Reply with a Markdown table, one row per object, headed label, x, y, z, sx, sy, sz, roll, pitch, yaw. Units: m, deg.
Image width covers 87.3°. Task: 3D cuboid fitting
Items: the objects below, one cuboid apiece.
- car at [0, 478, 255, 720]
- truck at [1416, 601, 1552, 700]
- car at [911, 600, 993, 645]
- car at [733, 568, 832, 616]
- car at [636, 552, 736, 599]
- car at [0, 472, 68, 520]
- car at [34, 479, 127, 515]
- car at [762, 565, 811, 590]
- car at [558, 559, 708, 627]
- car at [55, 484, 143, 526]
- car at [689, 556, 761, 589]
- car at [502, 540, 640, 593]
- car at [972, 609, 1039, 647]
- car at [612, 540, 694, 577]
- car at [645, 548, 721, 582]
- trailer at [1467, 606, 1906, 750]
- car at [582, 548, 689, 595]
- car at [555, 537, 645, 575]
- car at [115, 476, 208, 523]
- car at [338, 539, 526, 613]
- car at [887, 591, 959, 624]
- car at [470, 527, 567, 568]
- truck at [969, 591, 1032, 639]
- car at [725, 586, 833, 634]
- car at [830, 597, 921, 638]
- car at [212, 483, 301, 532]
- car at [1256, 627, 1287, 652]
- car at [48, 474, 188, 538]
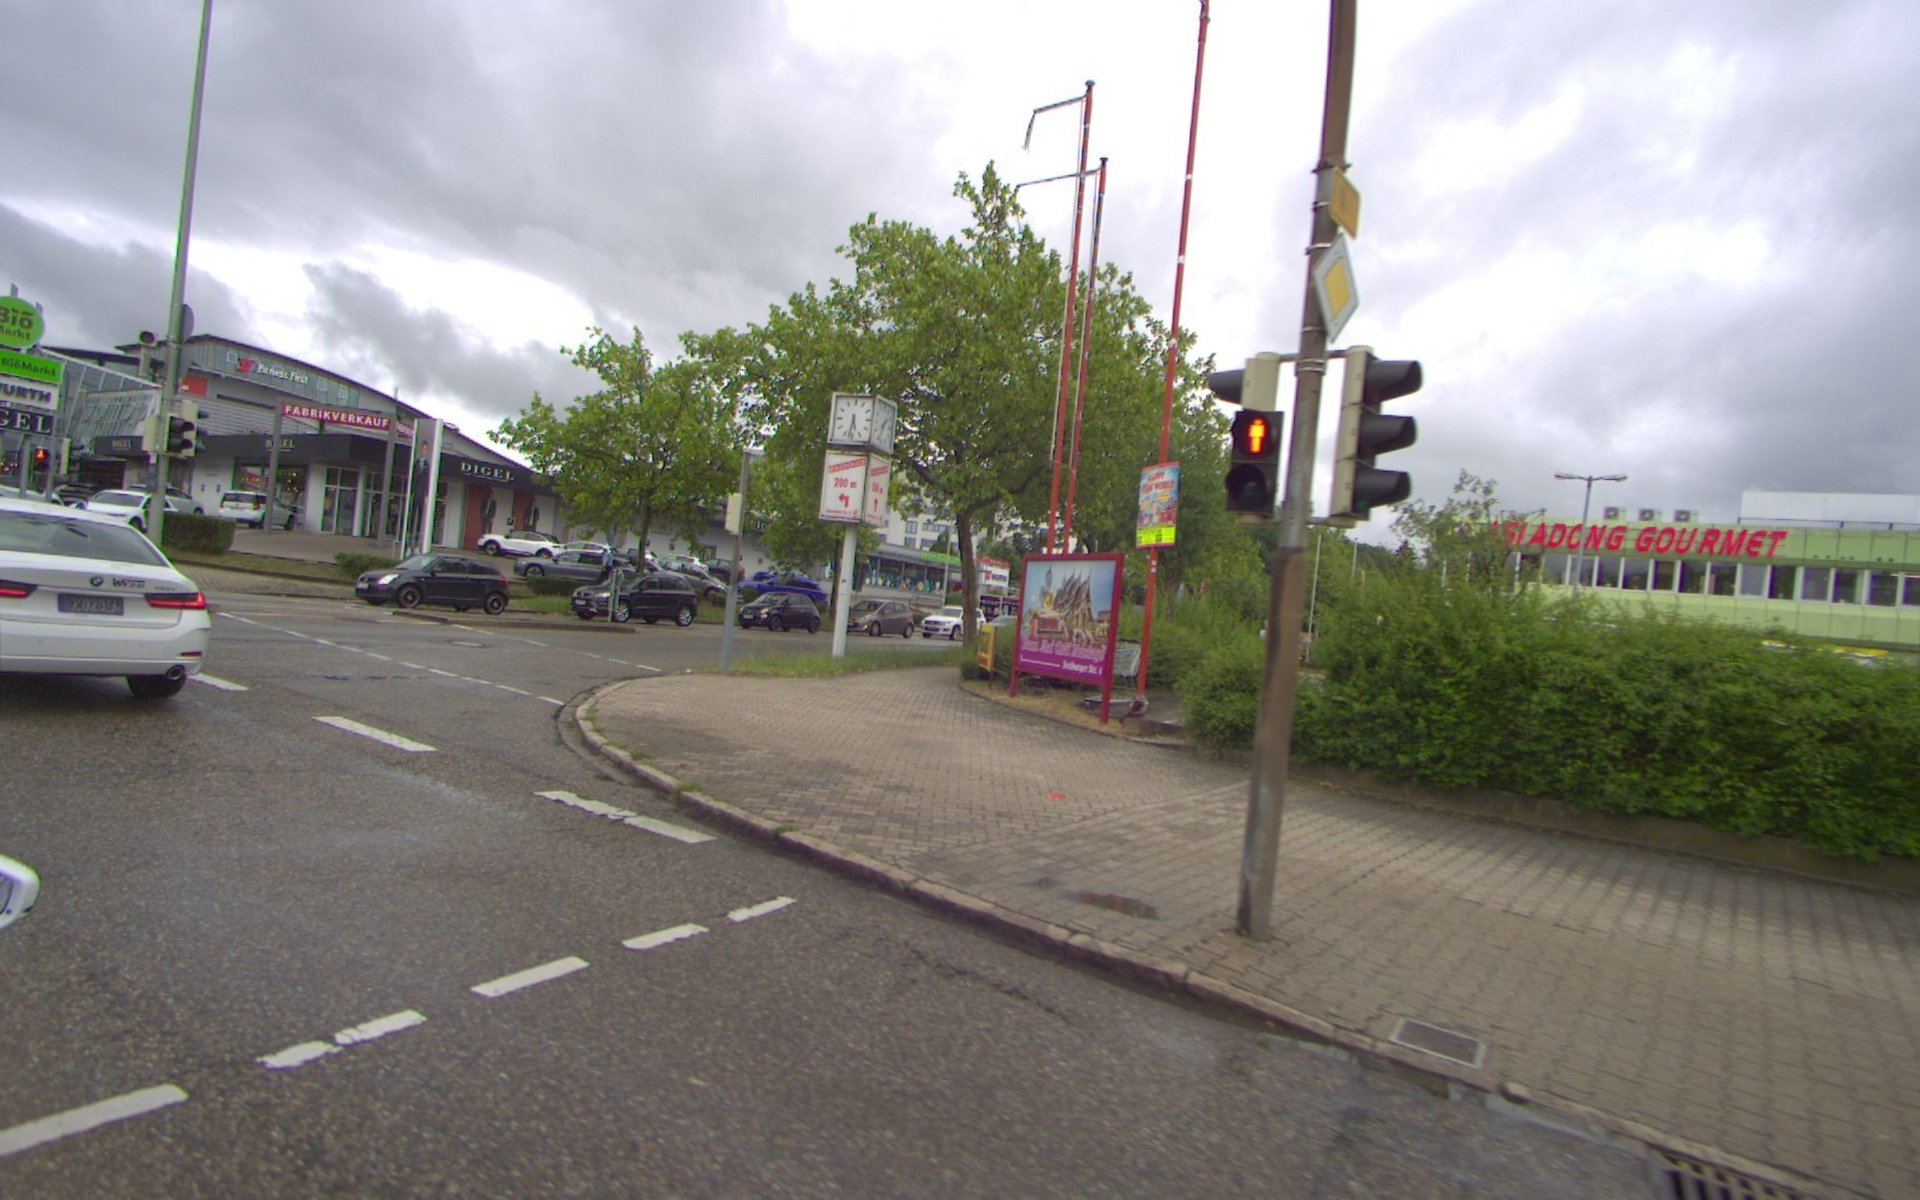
| label | x | y | z | sx | sy | sz | roll | pitch | yaw |
| --- | --- | --- | --- | --- | --- | --- | --- | --- | --- |
| car | -7.904 | -0.163 | 8.125 | 4.543 | 1.562 | 1.805 | 6 | -2 | 31 |
| truck | 24.522 | 2.349 | 47.088 | 5.051 | 3.759 | 3.157 | 8 | -1 | 32 |
| car | -0.329 | 1.130 | 49.518 | 1.892 | 1.862 | 4.331 | 6 | 0 | 32 |
| car | -9.325 | -0.378 | 52.651 | 4.849 | 1.812 | 1.997 | 7 | -3 | -13 |
| car | -12.748 | -1.114 | 47.109 | 4.155 | 1.597 | 1.999 | 7 | -3 | -8 |
| car | -38.002 | -4.201 | 39.858 | 1.948 | 1.685 | 4.018 | 7 | 2 | -8 |
| car | -49.584 | -5.777 | 56.826 | 1.799 | 1.487 | 4.150 | 7 | 0 | -6 |
| car | -11.810 | -1.516 | 68.643 | 3.190 | 1.286 | 1.538 | 7 | 0 | -9 |
| car | -10.209 | -0.178 | 31.695 | 1.712 | 1.565 | 4.143 | 6 | -3 | 37 |
| car | -46.775 | -5.132 | 54.763 | 1.605 | 1.742 | 3.970 | 7 | 0 | -7 |
| car | -14.443 | -1.697 | 61.977 | 4.083 | 1.499 | 1.735 | 7 | 0 | -9 |
| car | -15.893 | -1.336 | 41.337 | 4.930 | 1.504 | 1.994 | 7 | 0 | -13 |
| car | 2.514 | 1.529 | 54.412 | 1.788 | 1.763 | 3.983 | 6 | 0 | 32 |
| car | -17.190 | -2.313 | 56.495 | 4.083 | 1.499 | 1.735 | 7 | 0 | -9 |
| car | -16.371 | -2.049 | 59.615 | 4.083 | 1.499 | 1.735 | 7 | 0 | -9 |
| trailer | 30.318 | 3.135 | 43.361 | 14.568 | 3.759 | 3.157 | 8 | -1 | 32 |
| car | -14.209 | -1.224 | 44.312 | 4.083 | 1.395 | 1.982 | 7 | -3 | -8 |
| car | -19.264 | -2.354 | 53.946 | 4.080 | 1.499 | 1.736 | 7 | 0 | -5 |
| car | -40.932 | -5.112 | 51.667 | 1.708 | 1.793 | 4.148 | 7 | 0 | -7 |
| car | -13.890 | -0.591 | 26.656 | 1.788 | 1.507 | 3.983 | 6 | 0 | 32 |
| car | -2.498 | 0.513 | 67.873 | 4.367 | 1.639 | 1.932 | 7 | 0 | 32 |
| car | -22.286 | -2.628 | 50.915 | 4.083 | 1.499 | 1.735 | 7 | 0 | -9 |
| truck | 2.430 | 0.907 | 59.367 | 1.788 | 2.516 | 3.982 | 6 | 0 | 32 |
| car | -6.863 | 0.422 | 38.501 | 1.788 | 1.507 | 3.983 | 6 | 0 | 32 |
| car | -3.602 | 0.776 | 43.455 | 1.788 | 1.466 | 3.983 | 6 | 0 | 32 |
| car | -32.721 | -4.259 | 46.932 | 1.709 | 1.793 | 4.145 | 7 | 0 | -11 |
| car | 31.489 | 3.995 | 101.736 | 1.966 | 2.217 | 3.992 | 7 | 1 | 30 |
| car | -27.875 | -3.049 | 33.508 | 1.903 | 1.596 | 4.272 | 7 | 0 | -16 |
